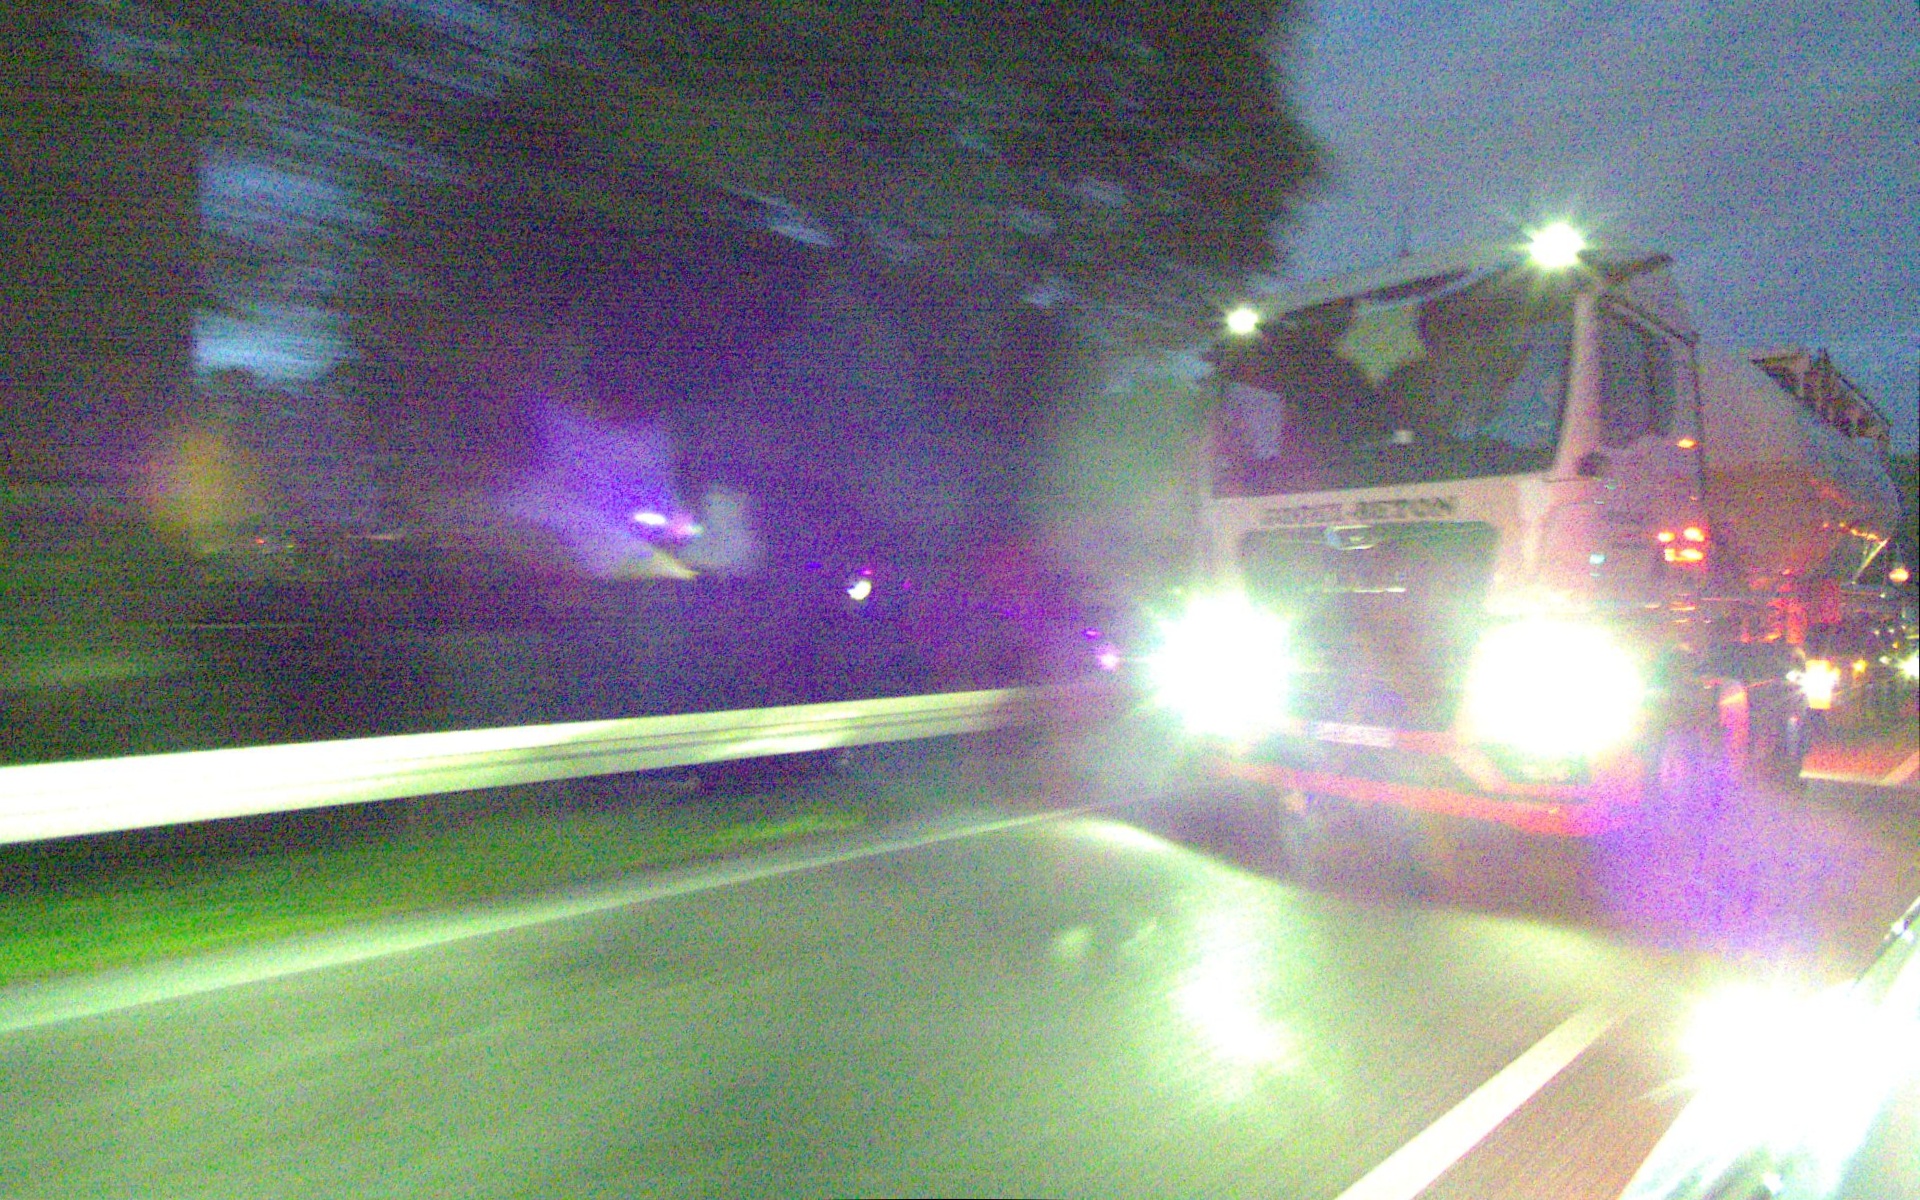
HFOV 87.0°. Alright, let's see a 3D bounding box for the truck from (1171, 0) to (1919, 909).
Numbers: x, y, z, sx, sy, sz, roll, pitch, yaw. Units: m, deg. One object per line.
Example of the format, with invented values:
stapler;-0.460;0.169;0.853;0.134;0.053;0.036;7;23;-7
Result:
truck;7.145;-0.692;9.881;12.910;4.158;2.692;0;0;-41
